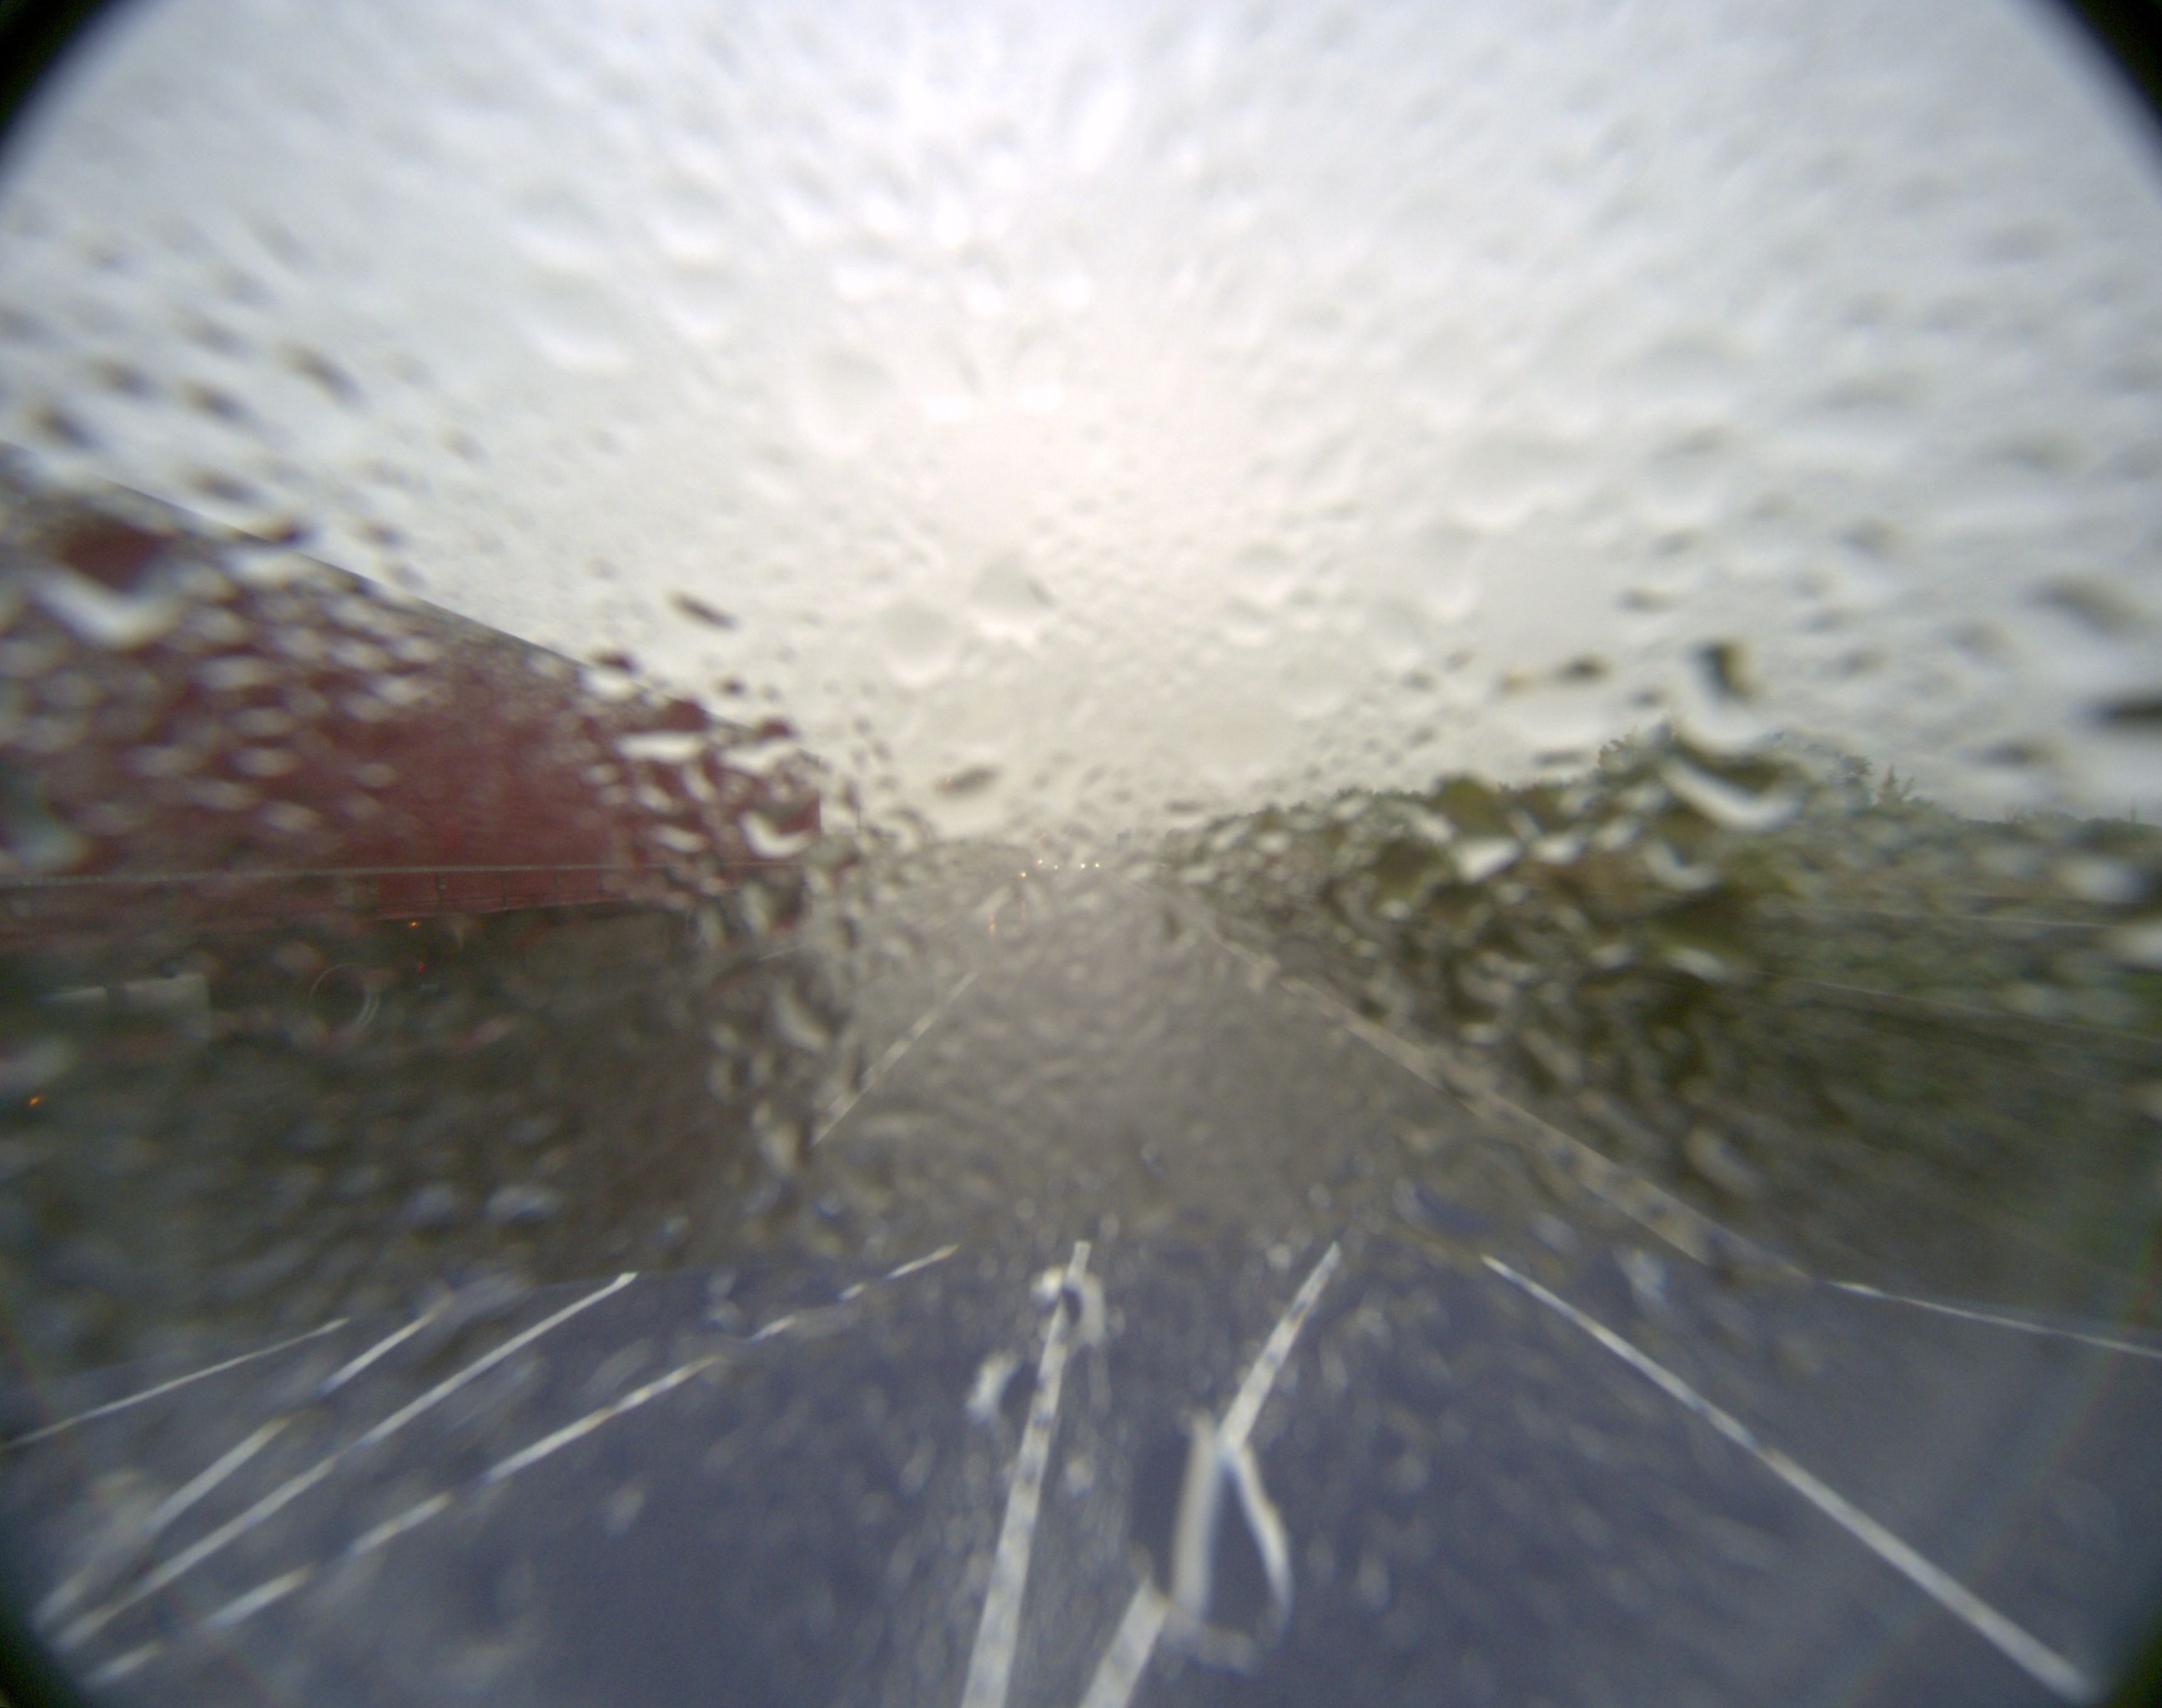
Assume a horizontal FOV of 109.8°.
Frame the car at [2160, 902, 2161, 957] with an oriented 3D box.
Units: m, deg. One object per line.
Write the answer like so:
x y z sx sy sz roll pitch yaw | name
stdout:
14.896 0.455 7.940 1.675 1.849 3.848 -2 2 -2 | car

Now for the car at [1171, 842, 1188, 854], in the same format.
21.548 -1.274 166.793 3.077 2.375 5.836 -2 1 1 | car

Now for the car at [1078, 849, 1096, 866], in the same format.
0.625 0.359 82.207 1.845 1.671 3.999 -2 1 0 | car

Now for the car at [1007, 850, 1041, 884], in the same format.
-2.904 0.648 39.126 1.517 1.607 3.186 -2 1 -1 | car

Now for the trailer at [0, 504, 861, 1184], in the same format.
-7.152 -0.087 11.718 2.486 3.744 16.542 -2 0 0 | trailer

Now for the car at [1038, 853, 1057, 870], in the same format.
-3.582 0.777 81.922 1.845 1.671 3.999 -2 1 0 | car

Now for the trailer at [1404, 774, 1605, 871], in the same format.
19.703 -1.296 36.968 2.301 3.782 13.610 -2 0 1 | trailer

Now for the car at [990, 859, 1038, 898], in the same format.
-2.891 1.028 33.540 1.663 1.491 3.836 -2 0 1 | car

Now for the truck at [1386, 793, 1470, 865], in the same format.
19.759 -1.355 43.546 2.323 3.783 5.399 -2 1 1 | truck

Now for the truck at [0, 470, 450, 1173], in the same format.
-7.167 -0.154 3.909 2.458 3.867 6.198 -2 1 1 | truck
